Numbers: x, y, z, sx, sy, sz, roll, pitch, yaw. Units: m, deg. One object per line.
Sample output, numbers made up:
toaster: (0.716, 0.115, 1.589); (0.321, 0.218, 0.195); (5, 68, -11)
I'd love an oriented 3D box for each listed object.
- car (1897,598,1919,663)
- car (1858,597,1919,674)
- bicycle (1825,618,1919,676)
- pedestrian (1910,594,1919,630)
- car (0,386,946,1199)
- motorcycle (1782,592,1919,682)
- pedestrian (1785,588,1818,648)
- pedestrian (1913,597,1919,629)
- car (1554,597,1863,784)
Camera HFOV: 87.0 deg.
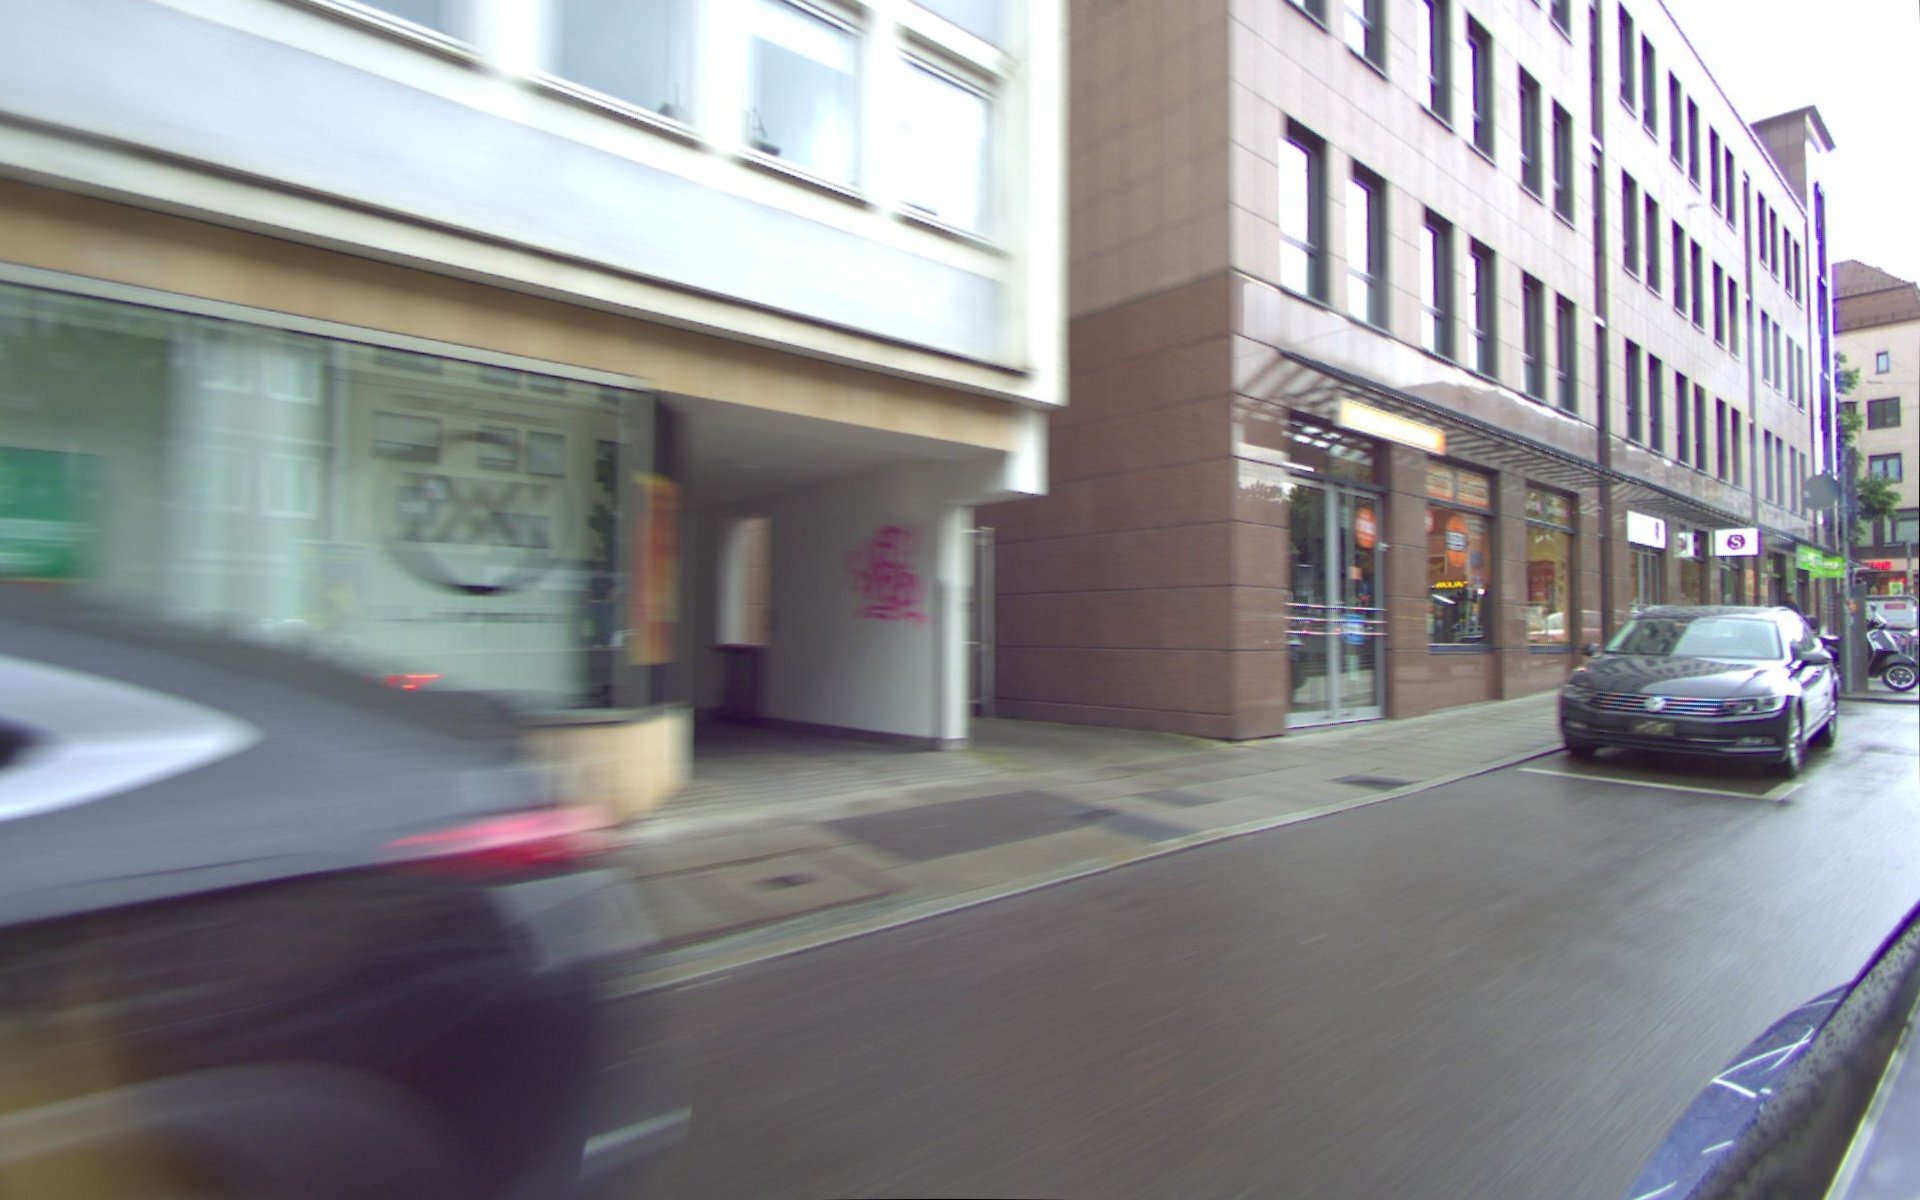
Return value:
car: (24.632, 0.738, 24.987); (3.798, 1.498, 1.702); (-1, 2, -40)
car: (20.786, 0.722, 21.809); (3.801, 1.480, 1.701); (-1, 2, -42)
bicycle: (17.573, 0.882, 19.137); (0.454, 1.044, 1.789); (-1, 0, -41)
pedestrian: (50.660, 0.625, 53.277); (0.585, 1.843, 0.667); (-1, 0, 0)
car: (-2.520, 0.590, 1.118); (5.080, 1.652, 1.810); (0, -1, -42)
motorcycle: (15.448, 0.594, 17.254); (0.782, 1.425, 2.094); (-1, 0, -22)
pedestrian: (23.790, 0.493, 28.599); (0.614, 1.680, 0.602); (-1, 0, -41)
pedestrian: (50.145, 0.683, 52.550); (0.614, 1.670, 0.725); (-1, 0, 0)
car: (7.782, 0.732, 10.332); (4.532, 1.487, 1.775); (0, -1, -44)
